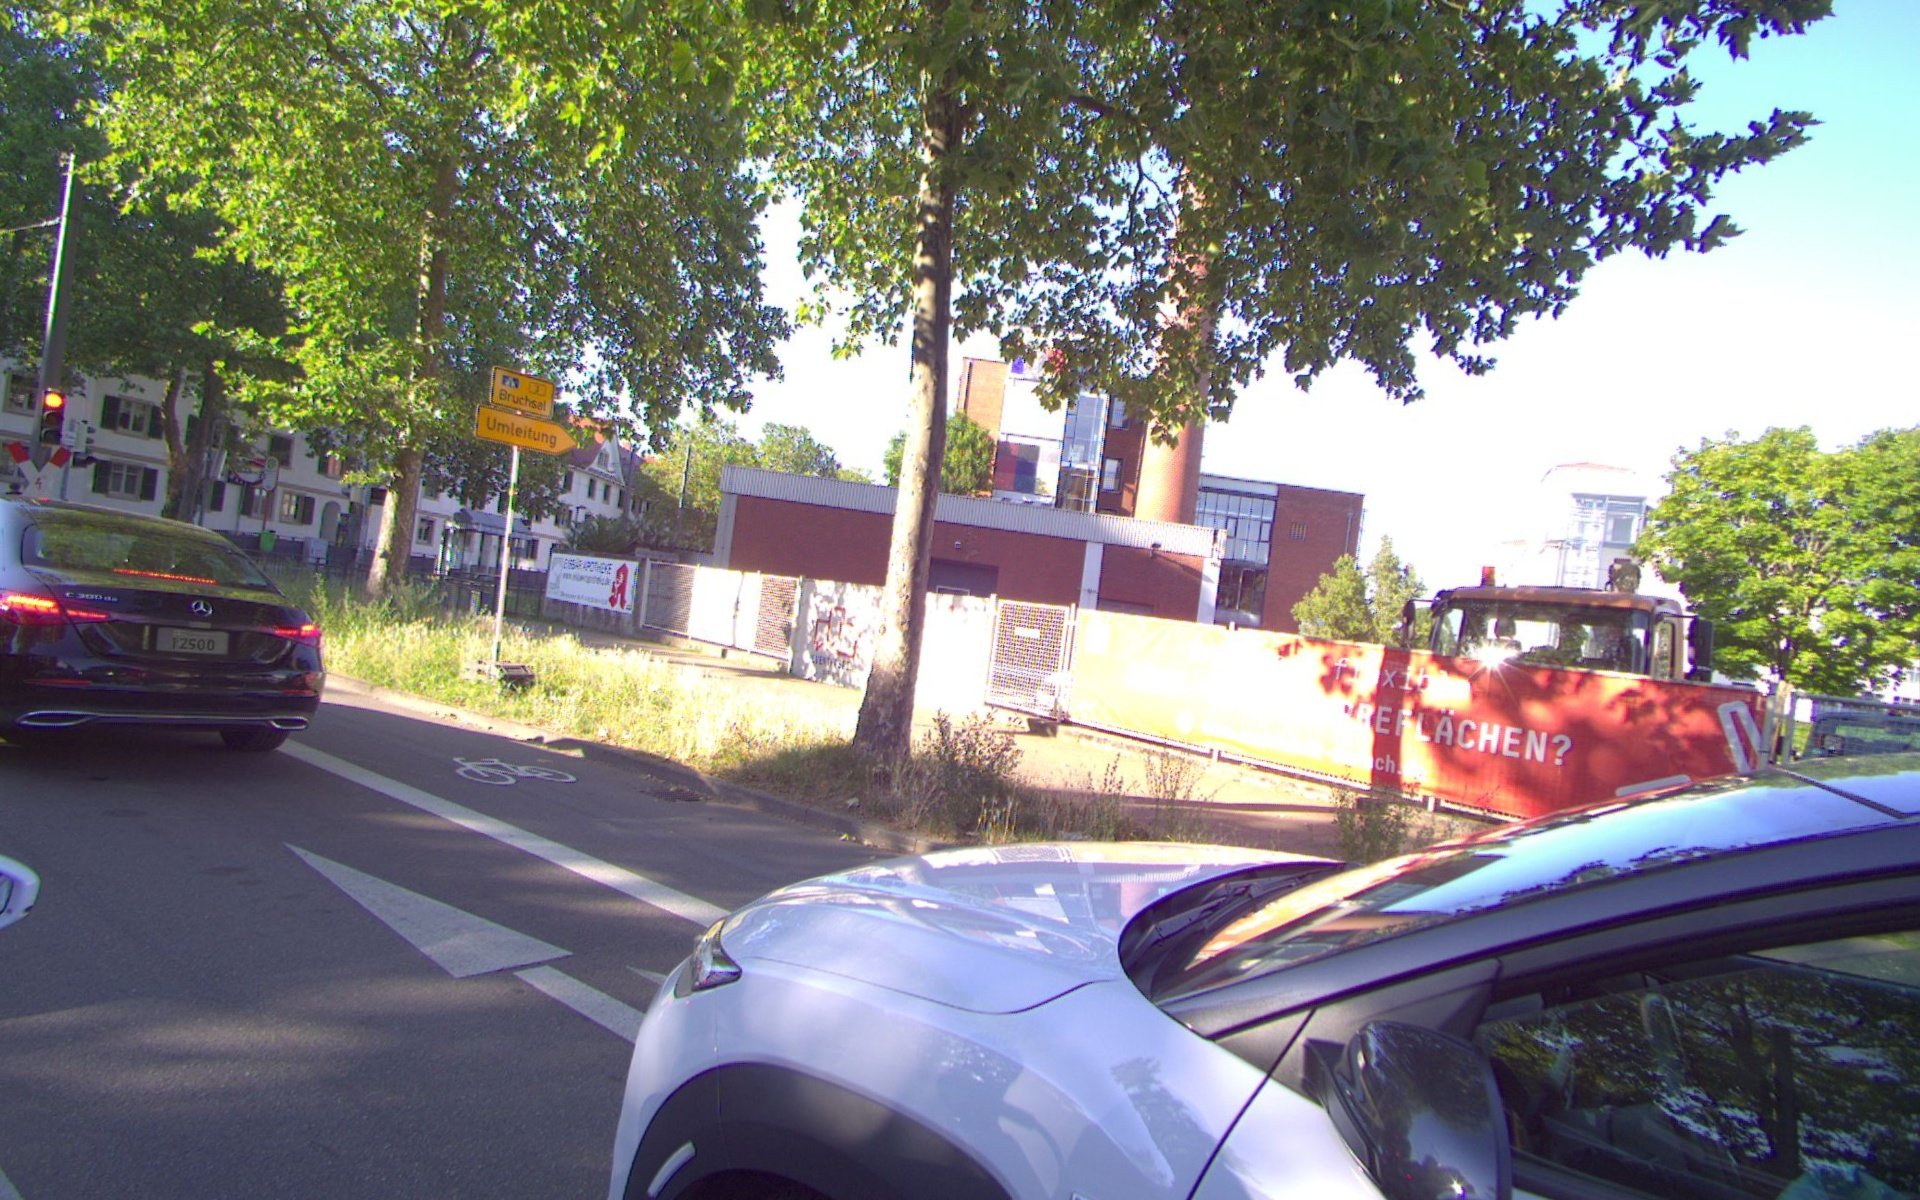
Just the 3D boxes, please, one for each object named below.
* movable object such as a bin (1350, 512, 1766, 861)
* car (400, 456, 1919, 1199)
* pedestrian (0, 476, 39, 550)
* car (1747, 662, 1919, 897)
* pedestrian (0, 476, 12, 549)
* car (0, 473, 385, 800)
[{"bbox_3d":[7.652,1.035,12.408,3.172,3.084,6.266,6,-2,41],"label":"movable object such as a bin"},{"bbox_3d":[1.252,0.918,1.372,3.901,1.616,1.893,9,-1,33],"label":"car"},{"bbox_3d":[-26.515,-2.429,28.129,0.825,1.940,0.707,7,-1,28],"label":"pedestrian"},{"bbox_3d":[9.581,1.825,10.150,2.016,1.849,4.583,6,-3,44],"label":"car"},{"bbox_3d":[-26.112,-2.394,26.910,0.825,1.940,0.707,7,-1,28],"label":"pedestrian"},{"bbox_3d":[-5.945,0.021,6.646,4.310,1.508,1.892,9,-1,34],"label":"car"}]
